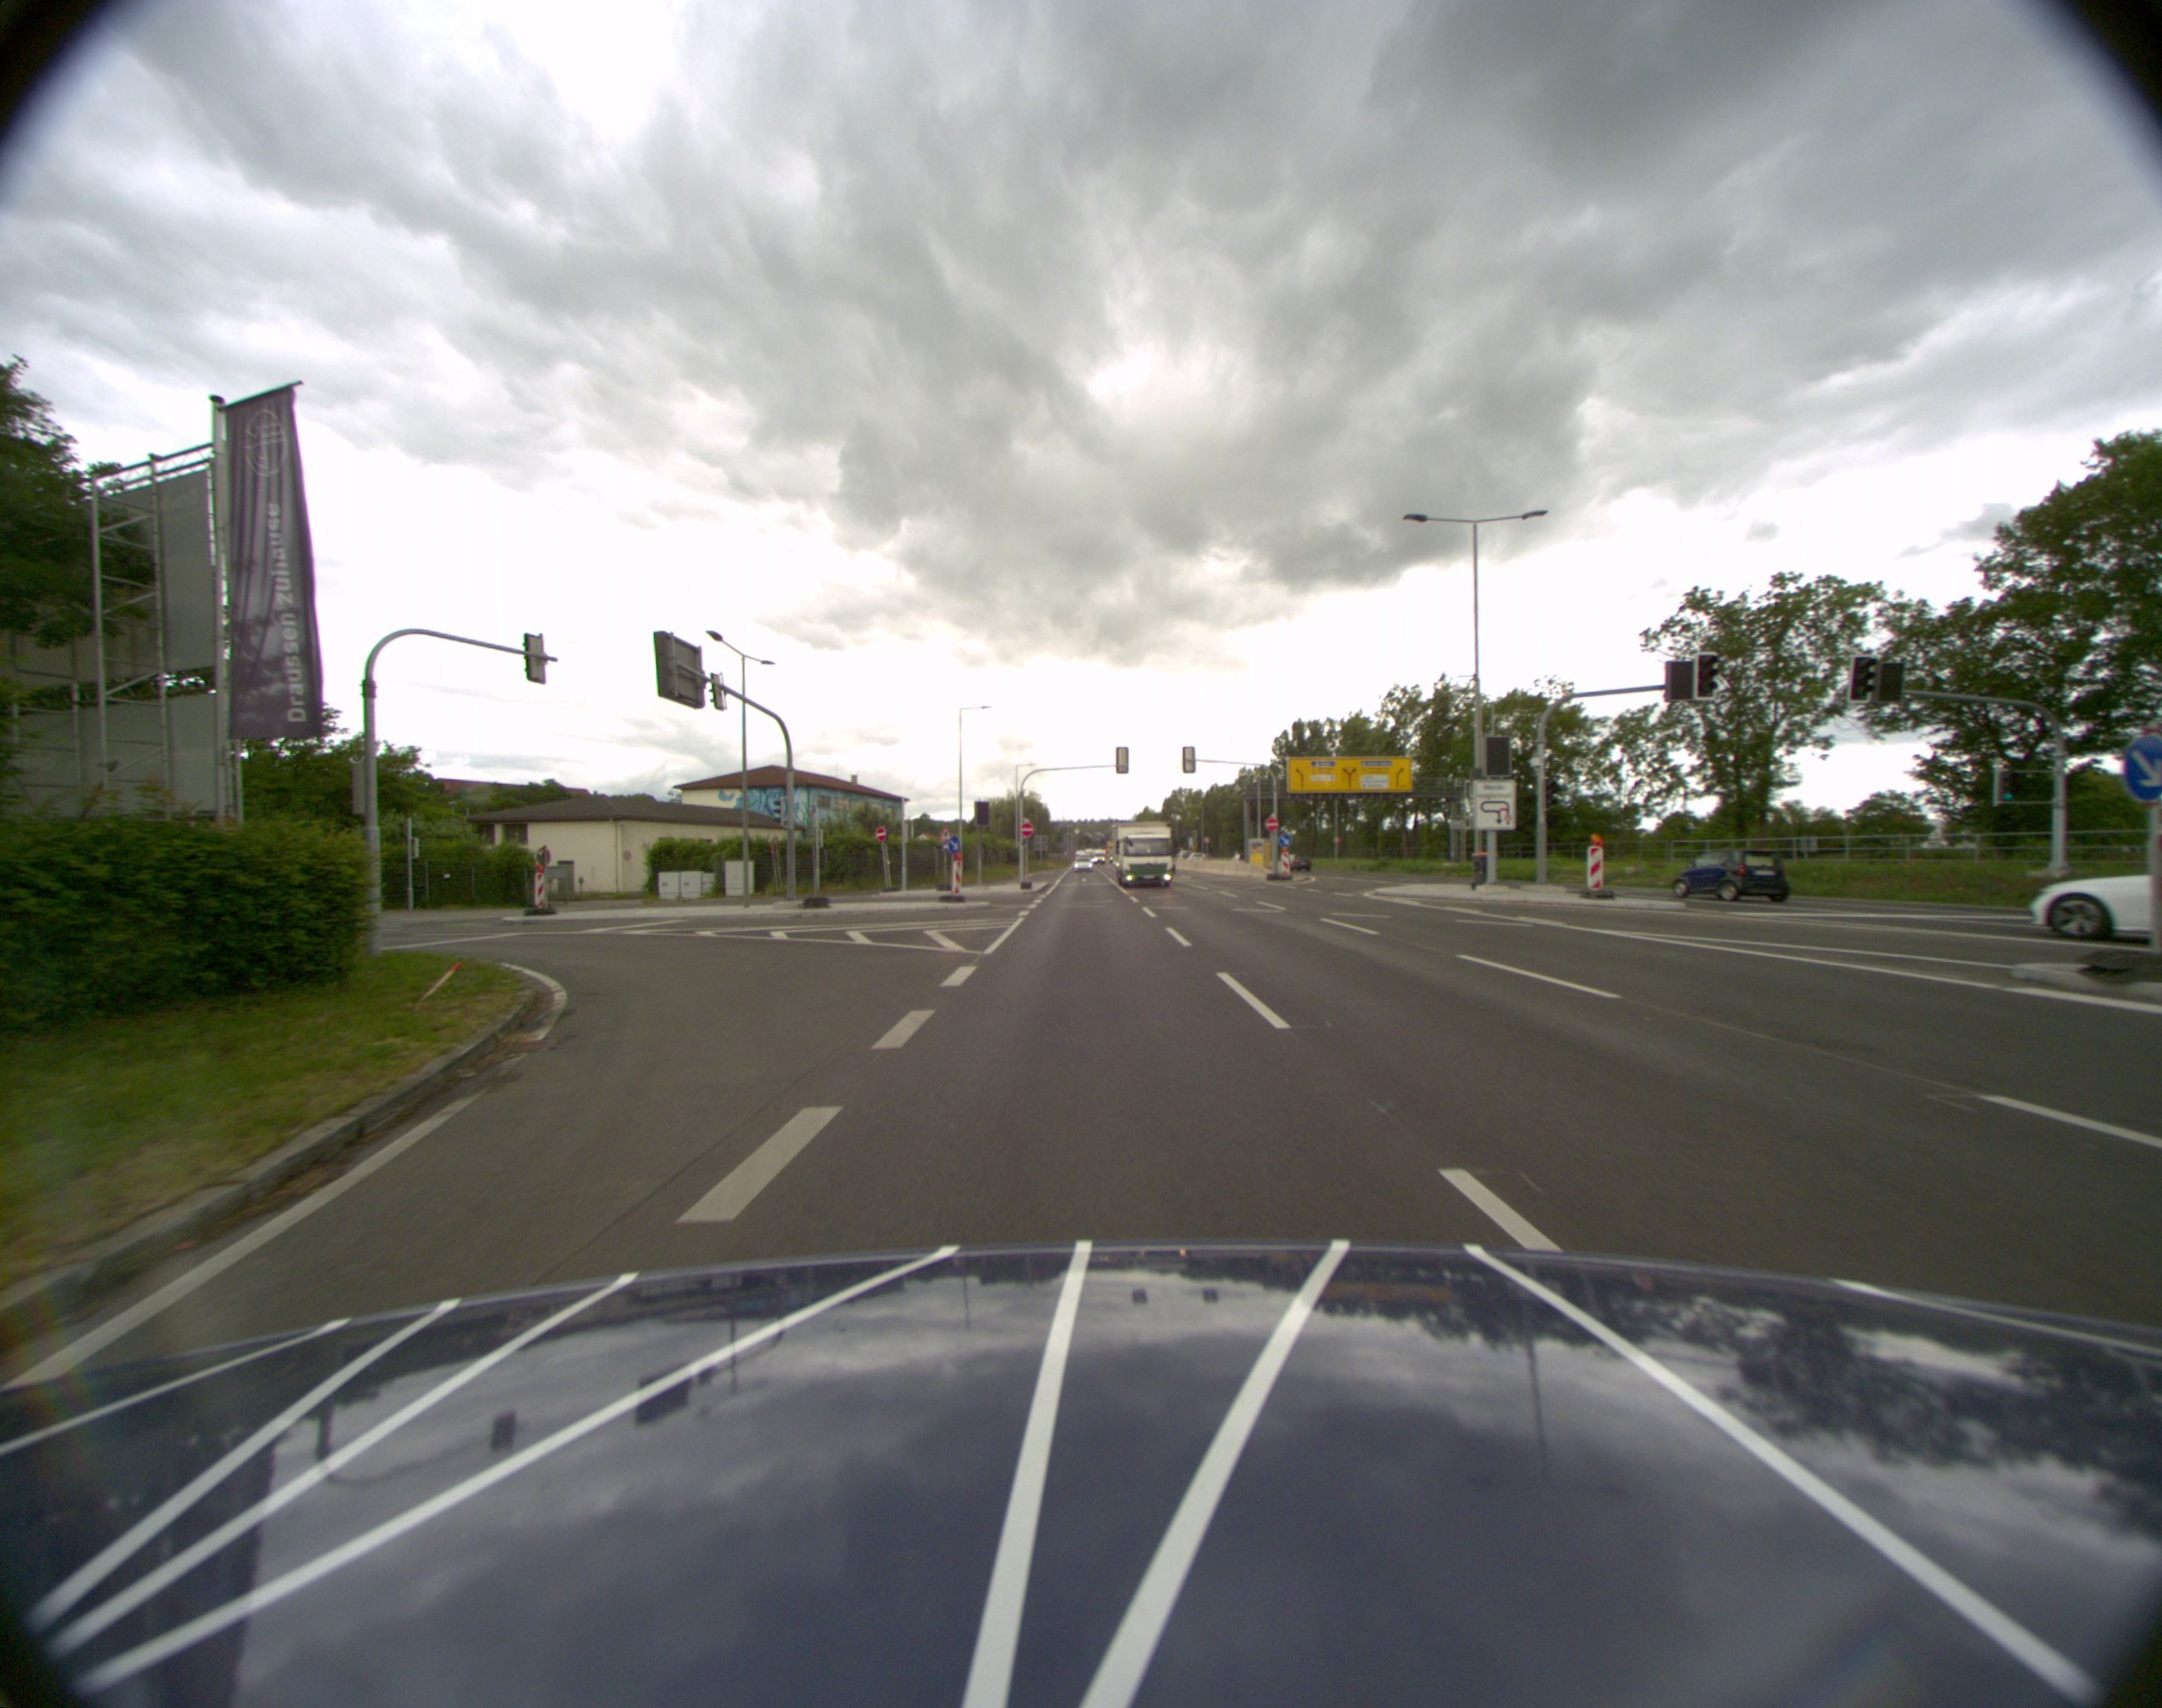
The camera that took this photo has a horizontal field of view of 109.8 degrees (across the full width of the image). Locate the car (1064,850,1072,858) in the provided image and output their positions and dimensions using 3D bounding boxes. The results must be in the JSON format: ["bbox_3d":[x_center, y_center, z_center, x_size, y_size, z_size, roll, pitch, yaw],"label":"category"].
[{"bbox_3d":[-3.092,0.016,182.272,1.949,1.811,4.000,-1,0,0],"label":"car"}]

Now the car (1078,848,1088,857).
[{"bbox_3d":[0.431,-0.299,148.000,1.949,1.811,4.000,-1,0,0],"label":"car"}]

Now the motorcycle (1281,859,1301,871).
[{"bbox_3d":[16.638,0.849,60.349,0.876,0.934,2.633,-1,0,1],"label":"motorcycle"}]

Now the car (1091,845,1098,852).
[{"bbox_3d":[3.851,-1.616,218.643,1.949,1.811,4.000,-1,0,0],"label":"car"}]

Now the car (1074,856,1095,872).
[{"bbox_3d":[0.336,0.962,75.379,1.949,1.517,4.000,-1,0,0],"label":"car"}]

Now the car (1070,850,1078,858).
[{"bbox_3d":[-1.807,-0.004,187.337,1.949,1.811,4.000,-1,0,0],"label":"car"}]

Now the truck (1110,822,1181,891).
[{"bbox_3d":[3.184,0.123,41.019,2.657,3.121,12.508,-1,0,0],"label":"truck"}]

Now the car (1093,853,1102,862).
[{"bbox_3d":[3.629,0.815,167.129,1.949,1.811,4.000,-1,0,0],"label":"car"}]

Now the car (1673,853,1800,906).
[{"bbox_3d":[19.377,0.715,22.586,1.508,1.467,2.633,1,0,1],"label":"car"}]

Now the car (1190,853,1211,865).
[{"bbox_3d":[16.674,0.646,106.166,2.012,1.559,5.001,-1,0,0],"label":"car"}]

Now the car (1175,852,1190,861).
[{"bbox_3d":[17.609,0.452,131.999,2.012,1.517,5.001,-1,0,0],"label":"car"}]

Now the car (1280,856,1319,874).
[{"bbox_3d":[19.391,0.918,67.665,2.012,1.517,5.001,-1,0,0],"label":"car"}]

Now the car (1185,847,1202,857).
[{"bbox_3d":[18.419,-0.372,124.963,2.012,1.517,5.001,-1,0,0],"label":"car"}]

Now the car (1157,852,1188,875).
[{"bbox_3d":[7.262,0.722,60.486,1.883,1.715,4.146,-1,0,0],"label":"car"}]

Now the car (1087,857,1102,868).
[{"bbox_3d":[1.862,1.176,106.118,1.949,1.517,4.000,-1,0,0],"label":"car"}]

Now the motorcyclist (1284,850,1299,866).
[{"bbox_3d":[16.623,0.285,60.076,0.876,1.231,1.085,-1,0,1],"label":"motorcyclist"}]

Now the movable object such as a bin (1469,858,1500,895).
[{"bbox_3d":[11.674,0.646,22.000,0.570,1.018,0.622,-1,0,4],"label":"movable object such as a bin"}]

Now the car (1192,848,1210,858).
[{"bbox_3d":[18.365,-0.159,116.496,2.012,1.517,5.001,-1,0,0],"label":"car"}]

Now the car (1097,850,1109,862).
[{"bbox_3d":[3.882,0.385,136.873,1.949,2.176,4.000,-1,0,0],"label":"car"}]

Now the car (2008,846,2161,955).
[{"bbox_3d":[15.881,0.665,9.800,1.702,1.517,5.001,1,0,0],"label":"car"}]
